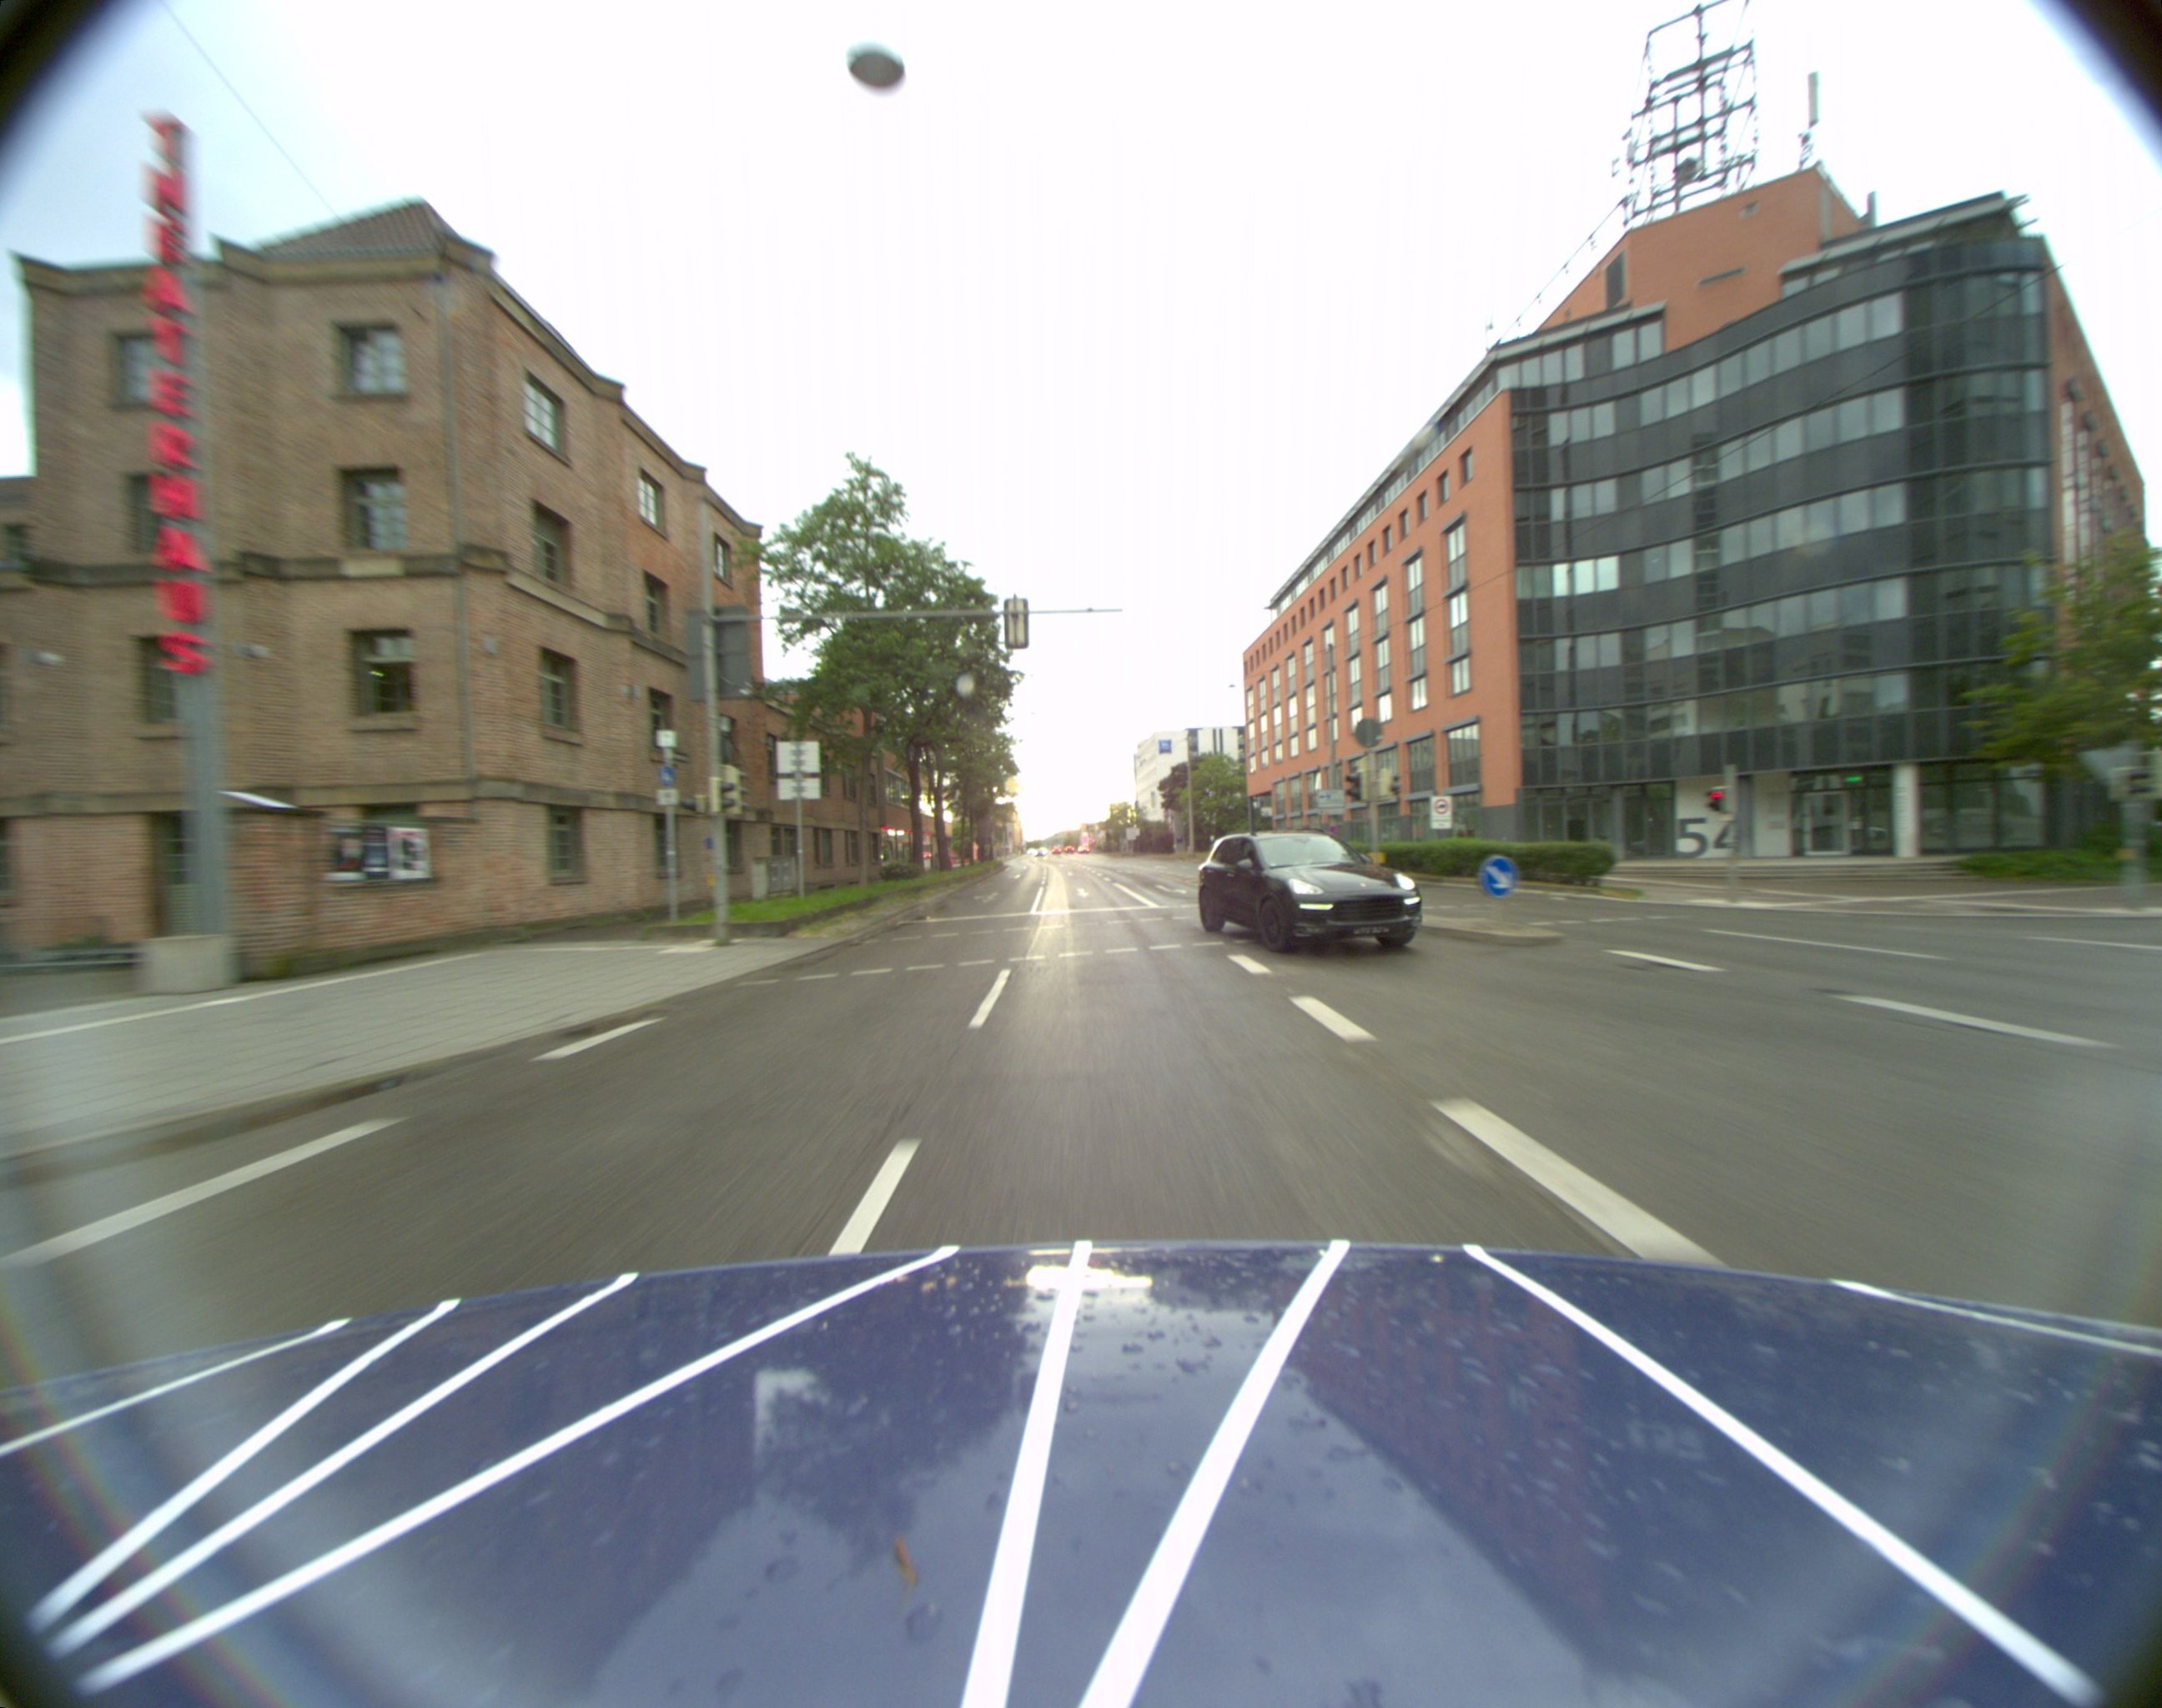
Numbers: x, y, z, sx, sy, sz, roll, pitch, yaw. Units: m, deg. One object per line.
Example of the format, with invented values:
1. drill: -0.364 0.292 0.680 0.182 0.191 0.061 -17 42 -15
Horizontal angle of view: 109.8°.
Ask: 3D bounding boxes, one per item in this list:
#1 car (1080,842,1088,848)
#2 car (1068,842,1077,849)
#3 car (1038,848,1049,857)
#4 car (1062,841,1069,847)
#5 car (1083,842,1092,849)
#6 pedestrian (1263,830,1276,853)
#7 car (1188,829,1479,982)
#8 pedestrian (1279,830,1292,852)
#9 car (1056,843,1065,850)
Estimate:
1. car: 0.689 -2.227 184.585 1.767 1.559 3.998 -1 1 -4
2. car: -1.961 -1.910 176.716 1.999 1.543 3.998 -2 1 -2
3. car: -6.680 -0.280 135.905 1.799 1.501 3.999 -1 0 -2
4. car: -4.543 -2.888 221.044 1.999 1.543 3.998 -2 1 -2
5. car: 1.391 -1.971 168.177 1.767 1.559 3.997 -1 1 -5
6. pedestrian: 15.753 -1.037 63.519 0.748 1.830 0.885 -4 2 -3
7. car: 3.279 0.549 11.329 2.000 1.656 5.421 -2 1 -6
8. pedestrian: 16.940 -1.081 63.034 0.748 1.830 0.885 -4 2 -3
9. car: -4.605 -1.681 170.132 1.999 1.543 3.998 -2 1 -2
